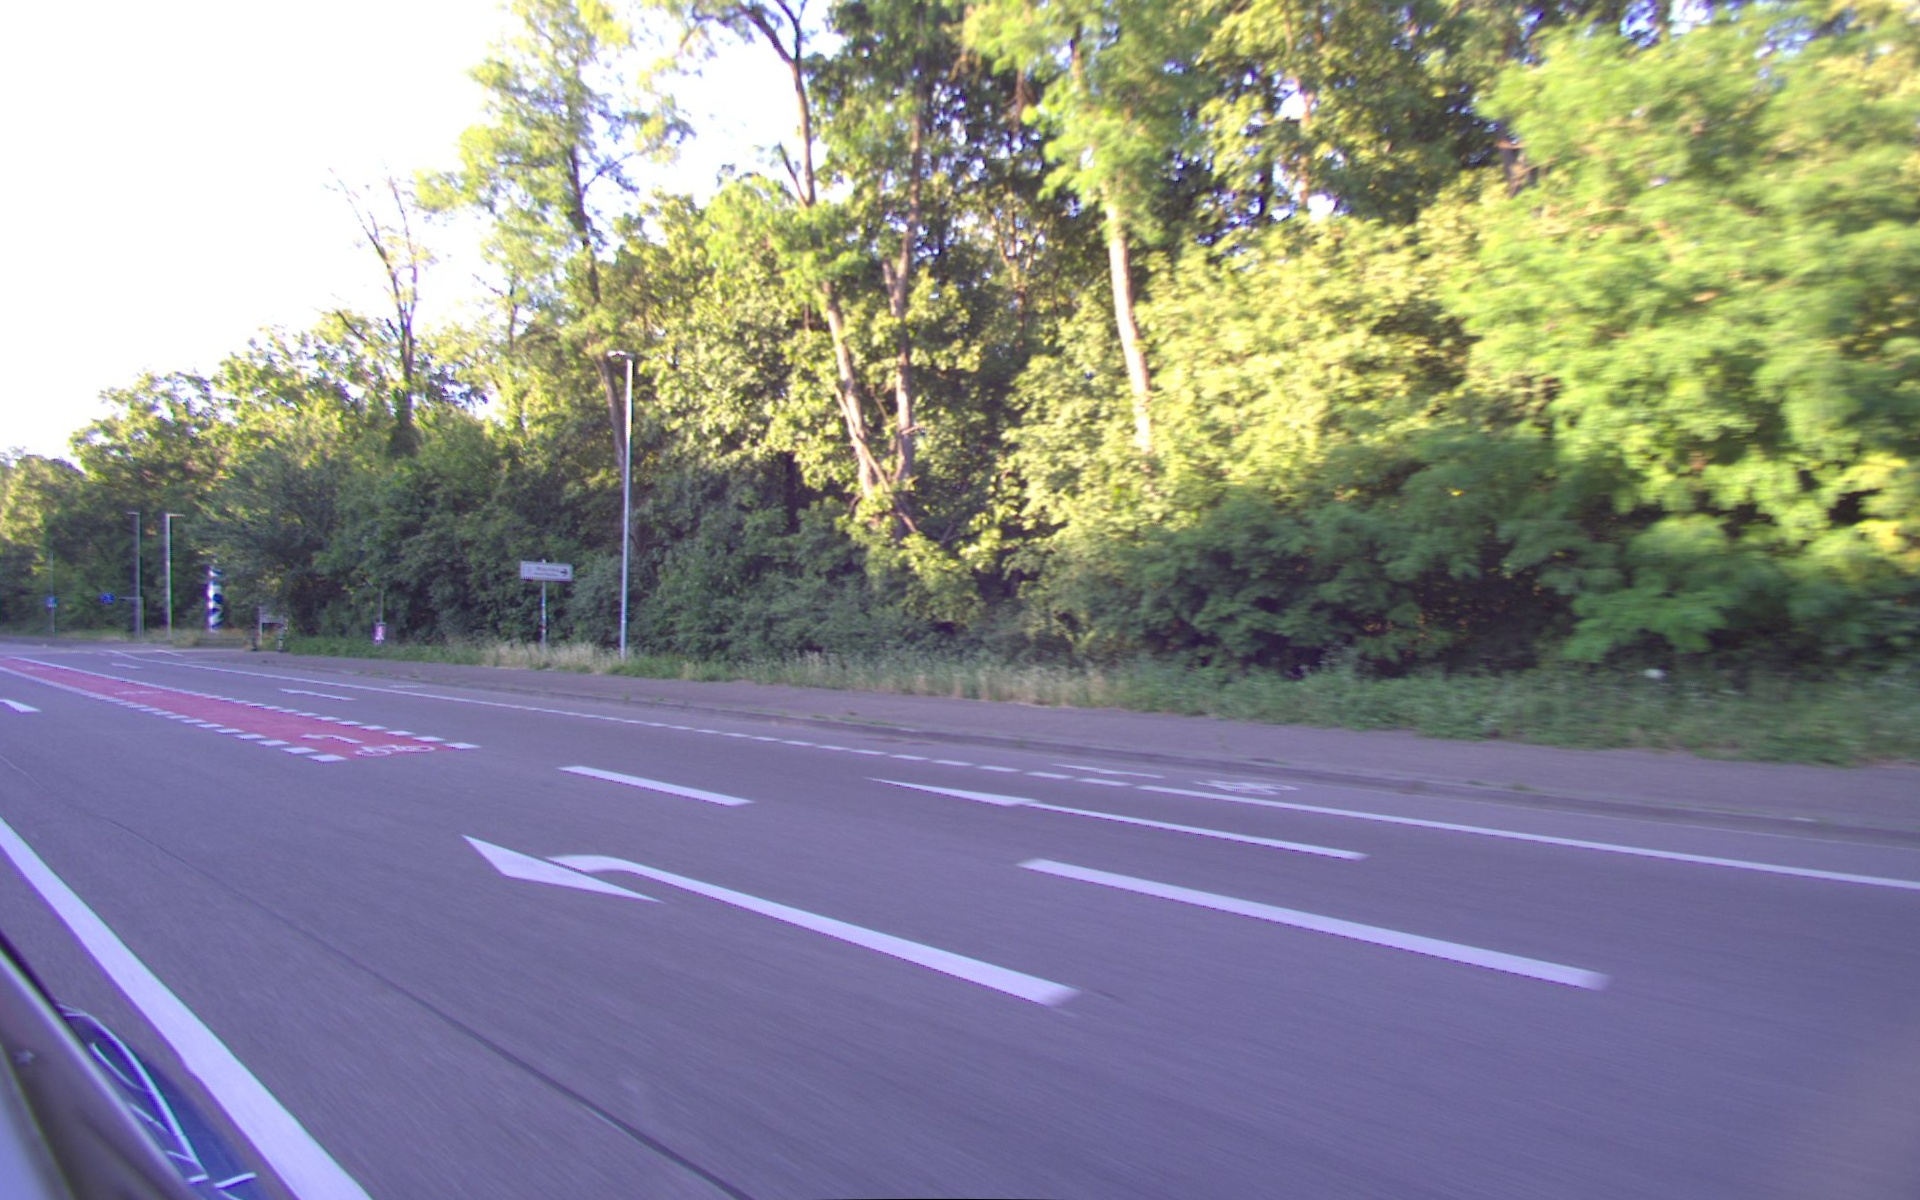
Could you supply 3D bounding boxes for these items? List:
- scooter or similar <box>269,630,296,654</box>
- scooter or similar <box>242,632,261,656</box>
[{"bbox_3d":[-30.121,1.855,44.983,0.491,1.076,0.895,-1,-1,16],"label":"scooter or similar"},{"bbox_3d":[-33.008,2.040,47.164,0.356,1.118,0.881,0,-1,-7],"label":"scooter or similar"}]
